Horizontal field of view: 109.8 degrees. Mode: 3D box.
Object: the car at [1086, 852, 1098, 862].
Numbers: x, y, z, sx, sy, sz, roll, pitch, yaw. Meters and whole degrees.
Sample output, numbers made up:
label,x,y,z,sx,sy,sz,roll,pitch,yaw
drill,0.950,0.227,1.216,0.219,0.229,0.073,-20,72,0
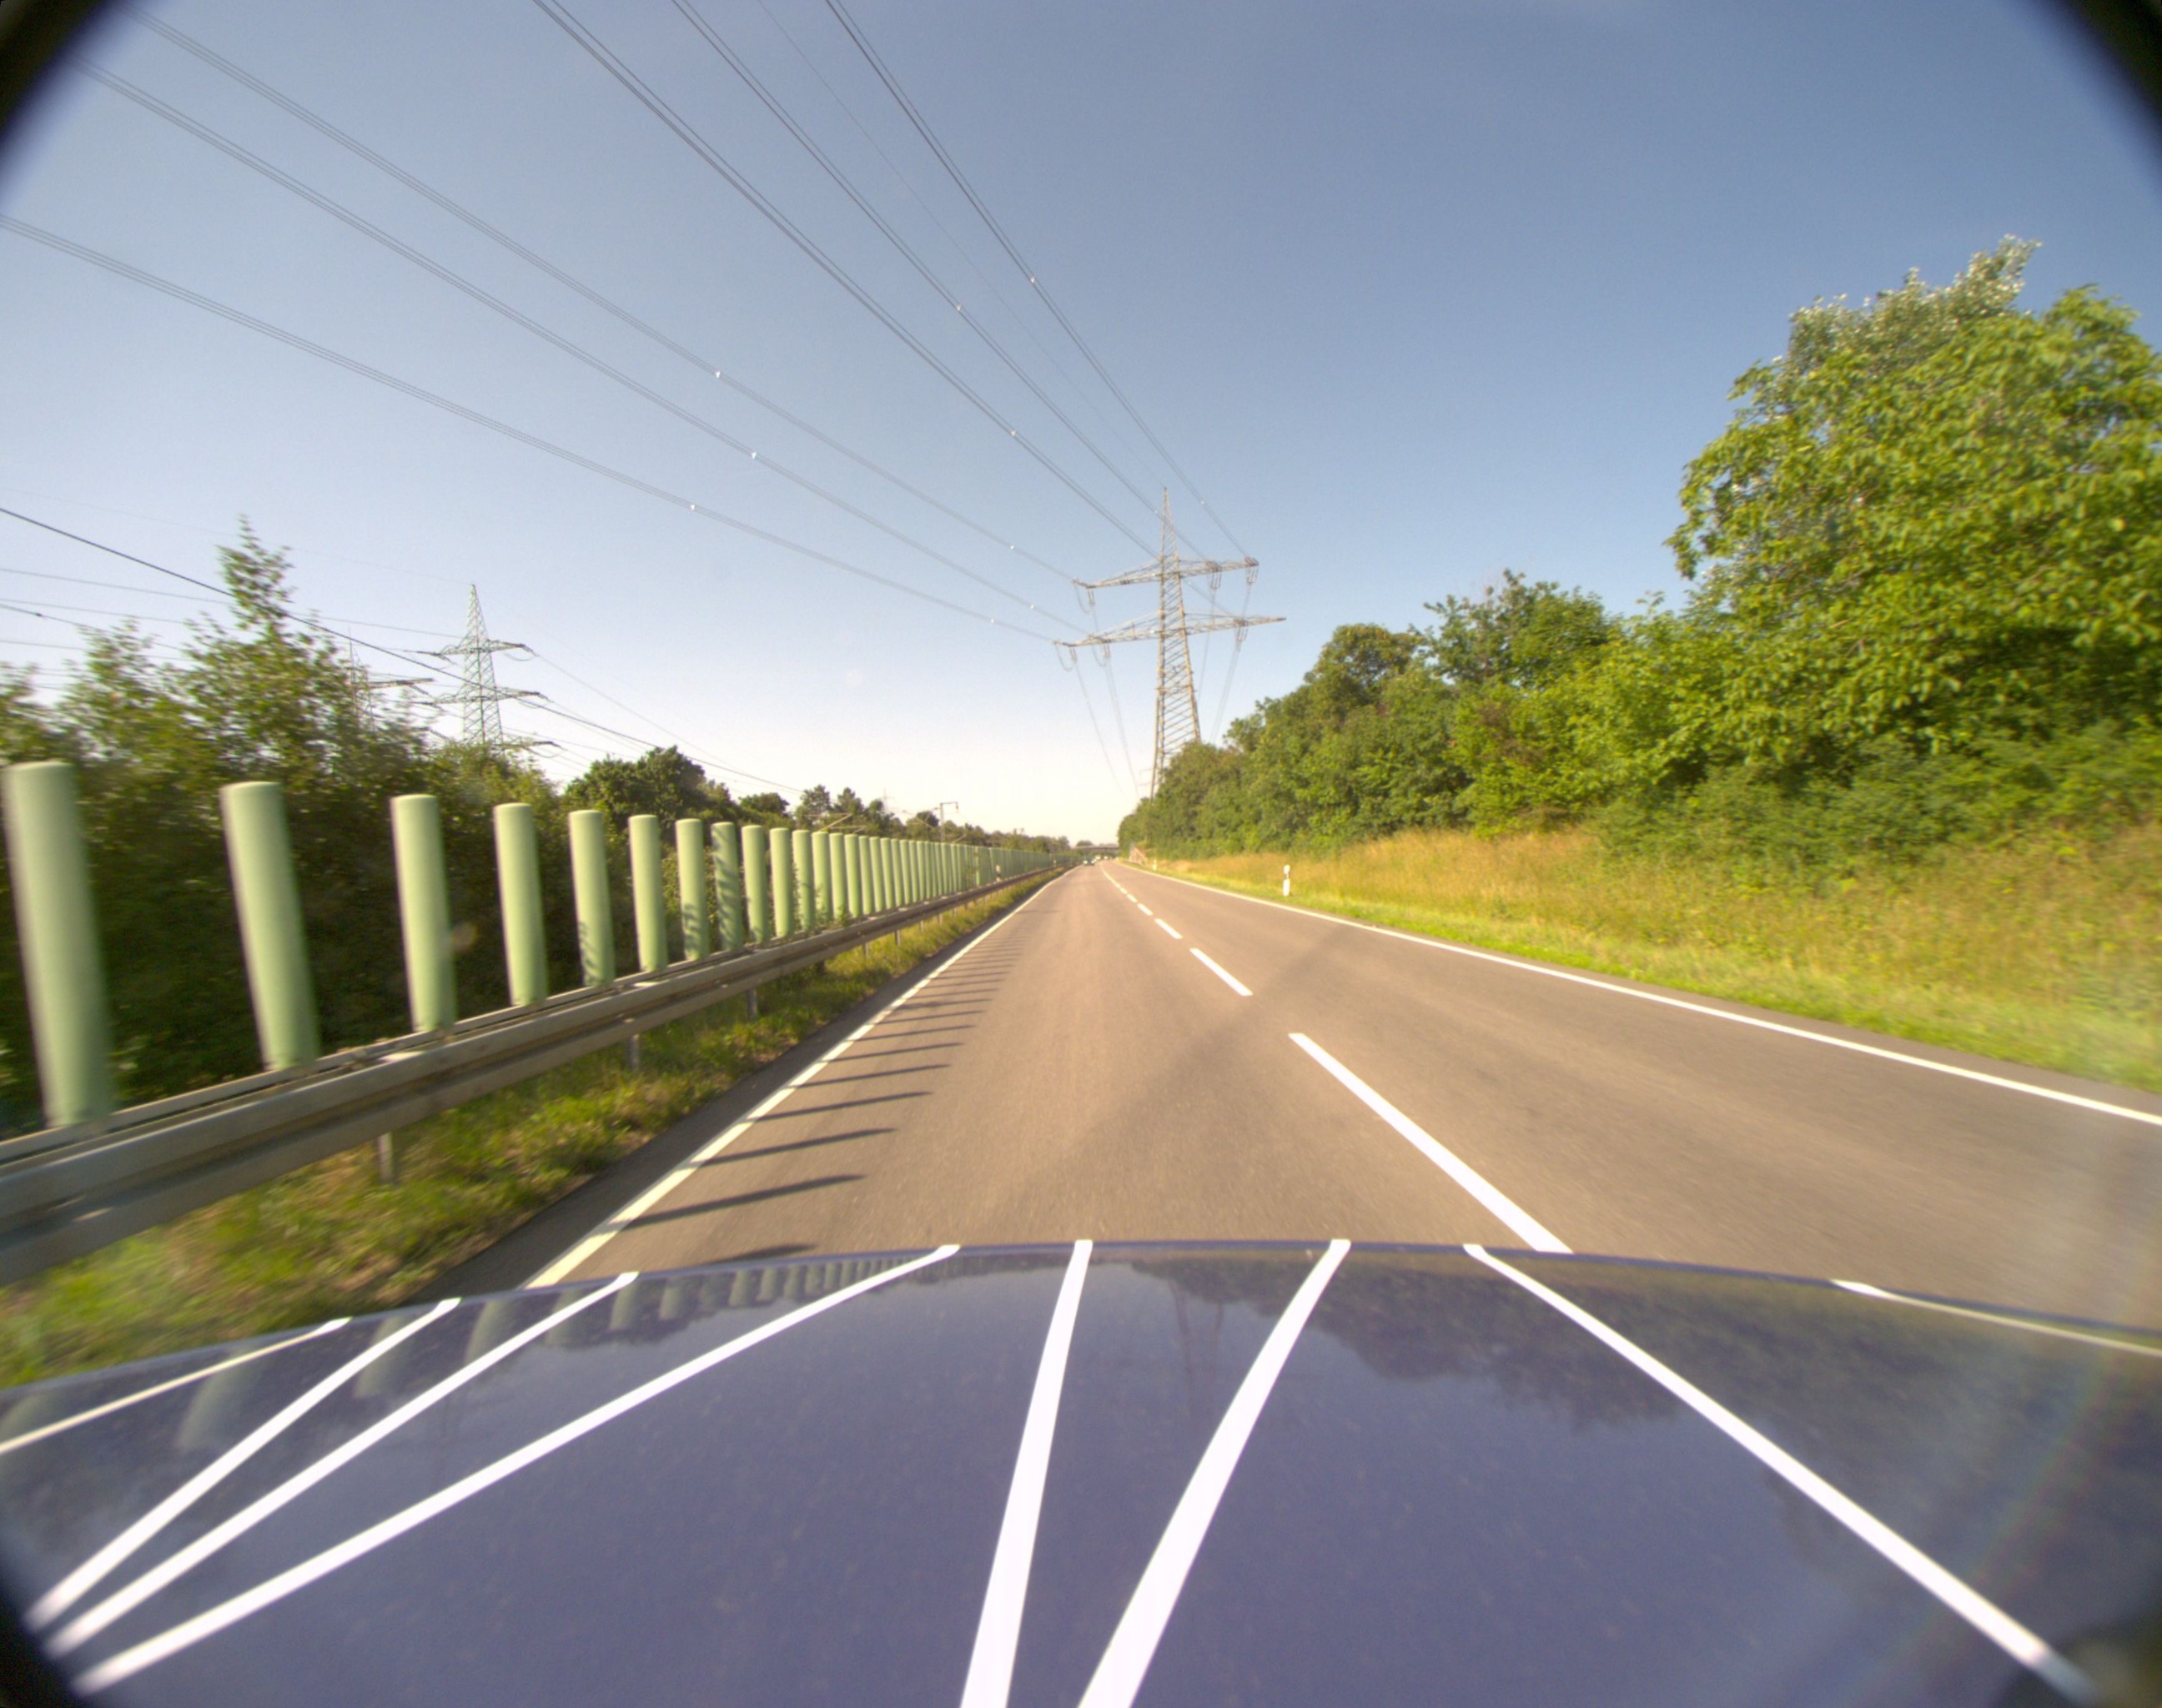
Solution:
label,x,y,z,sx,sy,sz,roll,pitch,yaw
car,1.829,0.527,130.305,1.786,1.550,4.001,-1,0,4
